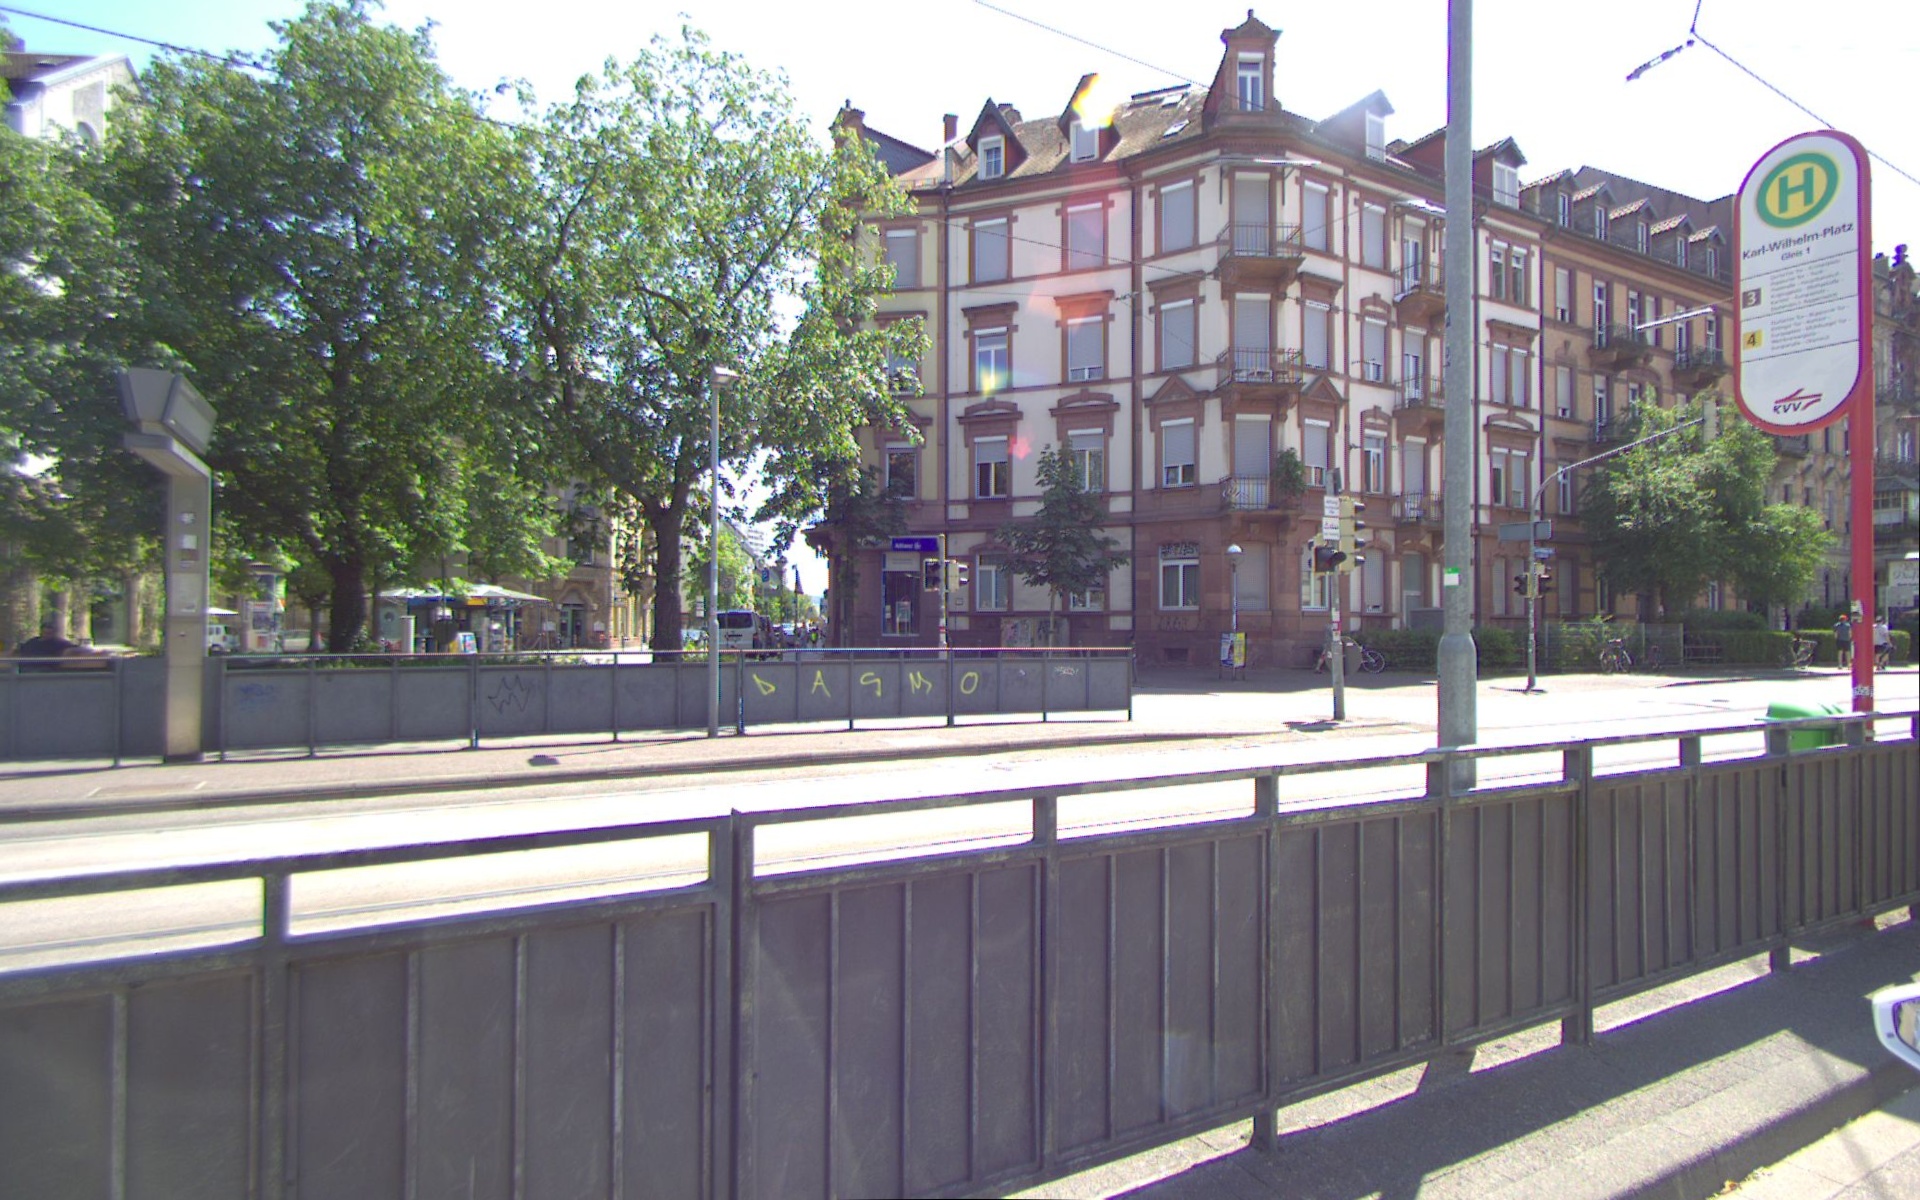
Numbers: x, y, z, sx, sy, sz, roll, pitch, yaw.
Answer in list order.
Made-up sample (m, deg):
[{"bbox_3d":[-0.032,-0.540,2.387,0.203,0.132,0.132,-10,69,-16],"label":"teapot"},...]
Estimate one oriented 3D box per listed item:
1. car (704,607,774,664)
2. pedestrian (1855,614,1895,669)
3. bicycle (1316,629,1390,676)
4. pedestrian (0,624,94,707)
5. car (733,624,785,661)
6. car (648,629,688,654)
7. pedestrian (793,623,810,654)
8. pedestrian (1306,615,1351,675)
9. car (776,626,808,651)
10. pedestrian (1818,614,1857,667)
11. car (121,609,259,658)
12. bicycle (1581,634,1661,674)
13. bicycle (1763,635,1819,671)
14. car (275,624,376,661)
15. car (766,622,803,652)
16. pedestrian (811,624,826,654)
[{"bbox_3d":[-8.323,1.292,38.220,1.962,1.970,3.998,2,0,-4],"label":"car"},{"bbox_3d":[31.762,1.426,34.873,0.864,1.847,0.811,0,1,-33],"label":"pedestrian"},{"bbox_3d":[11.669,1.553,29.865,1.923,1.312,0.564,2,0,11],"label":"bicycle"},{"bbox_3d":[-14.656,1.037,16.109,0.925,1.261,0.860,2,0,-24],"label":"pedestrian"},{"bbox_3d":[-9.620,2.003,48.292,1.893,1.541,3.998,2,0,-4],"label":"car"},{"bbox_3d":[-20.652,2.908,71.168,1.846,1.617,3.998,2,0,-4],"label":"car"},{"bbox_3d":[-8.473,2.060,53.752,0.790,1.632,0.731,0,-1,-4],"label":"pedestrian"},{"bbox_3d":[10.568,1.288,28.830,1.040,1.712,0.723,0,-1,4],"label":"pedestrian"},{"bbox_3d":[-12.476,2.835,74.762,1.962,1.617,3.998,2,0,-4],"label":"car"},{"bbox_3d":[31.051,1.419,35.536,0.864,1.847,0.811,0,1,-33],"label":"pedestrian"},{"bbox_3d":[-31.184,1.358,40.820,3.932,1.814,1.994,2,0,-14],"label":"car"},{"bbox_3d":[20.233,1.642,30.718,2.742,1.151,0.932,2,0,-31],"label":"bicycle"},{"bbox_3d":[28.534,1.800,34.480,2.750,1.151,0.930,2,0,-39],"label":"bicycle"},{"bbox_3d":[-32.070,2.150,50.896,3.920,1.730,1.761,2,0,-14],"label":"car"},{"bbox_3d":[-10.367,2.169,59.457,1.684,1.617,3.998,2,0,-4],"label":"car"},{"bbox_3d":[-7.617,2.084,53.940,0.742,1.632,0.688,0,-1,-4],"label":"pedestrian"}]
